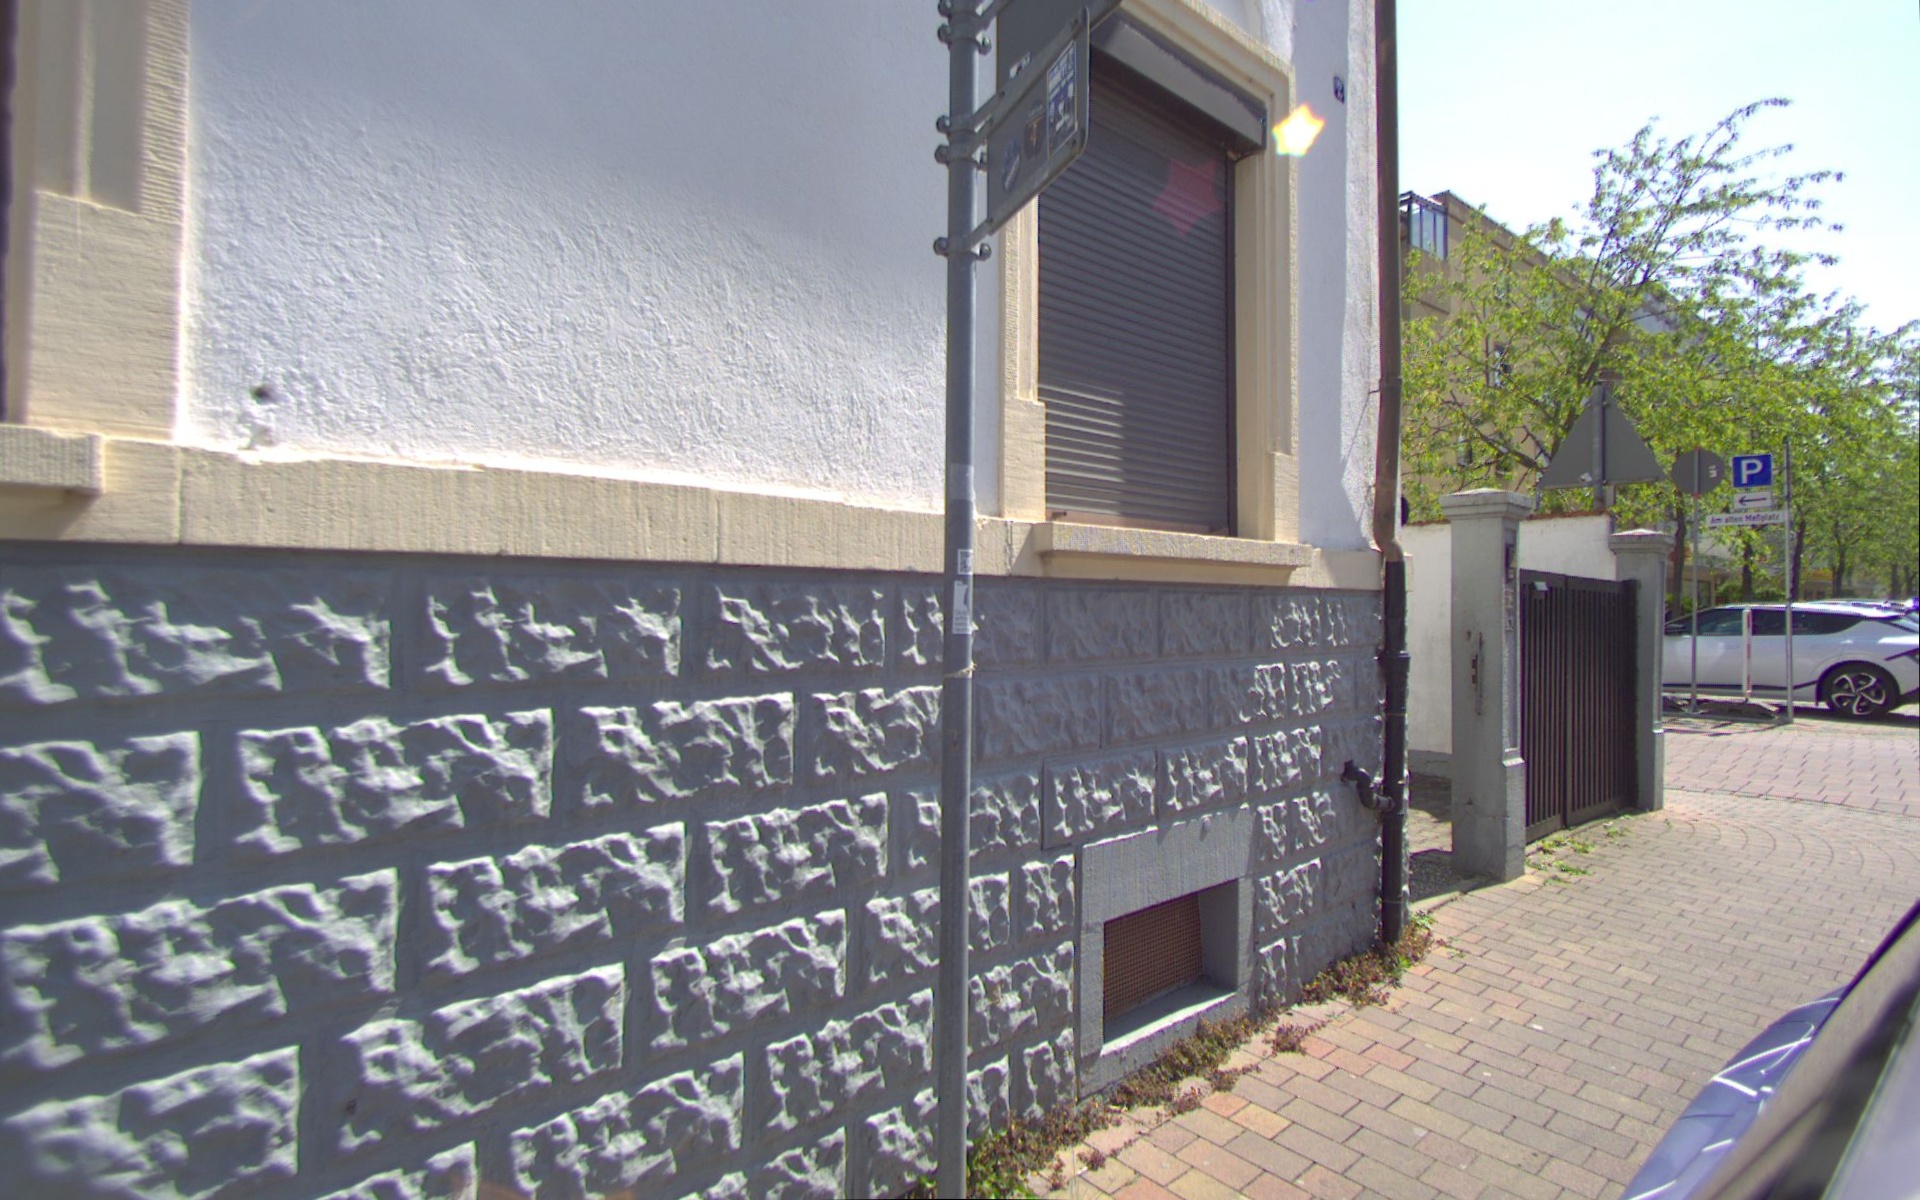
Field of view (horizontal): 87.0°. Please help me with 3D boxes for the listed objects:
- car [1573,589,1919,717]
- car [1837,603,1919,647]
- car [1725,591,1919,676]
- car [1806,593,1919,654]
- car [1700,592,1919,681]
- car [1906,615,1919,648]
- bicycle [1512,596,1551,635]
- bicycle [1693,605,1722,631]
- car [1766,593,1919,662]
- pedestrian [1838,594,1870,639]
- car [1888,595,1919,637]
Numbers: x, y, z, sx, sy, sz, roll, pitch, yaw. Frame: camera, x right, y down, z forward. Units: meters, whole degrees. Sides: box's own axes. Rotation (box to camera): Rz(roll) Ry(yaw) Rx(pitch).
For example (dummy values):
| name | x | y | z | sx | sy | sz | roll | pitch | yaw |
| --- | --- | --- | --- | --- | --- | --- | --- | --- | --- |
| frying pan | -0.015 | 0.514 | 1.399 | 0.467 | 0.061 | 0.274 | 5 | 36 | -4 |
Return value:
| name | x | y | z | sx | sy | sz | roll | pitch | yaw |
| --- | --- | --- | --- | --- | --- | --- | --- | --- | --- |
| car | 11.780 | 0.672 | 14.860 | 1.757 | 1.596 | 4.448 | 1 | 0 | -41 |
| car | 34.108 | 0.895 | 35.813 | 4.351 | 1.482 | 1.870 | 1 | 0 | 31 |
| car | 19.215 | 0.660 | 21.647 | 1.967 | 1.702 | 4.283 | 1 | 0 | -43 |
| car | 26.408 | 0.654 | 28.313 | 1.652 | 1.632 | 4.032 | 0 | 1 | -42 |
| car | 17.152 | 0.659 | 19.863 | 1.792 | 1.553 | 3.950 | 0 | 1 | -42 |
| car | 47.186 | 1.456 | 46.988 | 1.775 | 1.563 | 4.582 | 1 | -2 | -40 |
| bicycle | 17.360 | 0.471 | 30.738 | 1.743 | 1.138 | 0.413 | 0 | -2 | -40 |
| bicycle | 32.815 | 0.779 | 44.414 | 1.834 | 1.095 | 0.642 | 0 | -2 | -42 |
| car | 22.999 | 0.650 | 25.026 | 1.817 | 1.608 | 4.518 | 1 | 0 | -39 |
| pedestrian | 35.450 | 0.672 | 40.121 | 0.635 | 1.753 | 0.617 | -1 | -2 | -7 |
| car | 39.059 | 0.669 | 39.336 | 1.726 | 1.638 | 4.250 | 1 | 0 | -42 |
